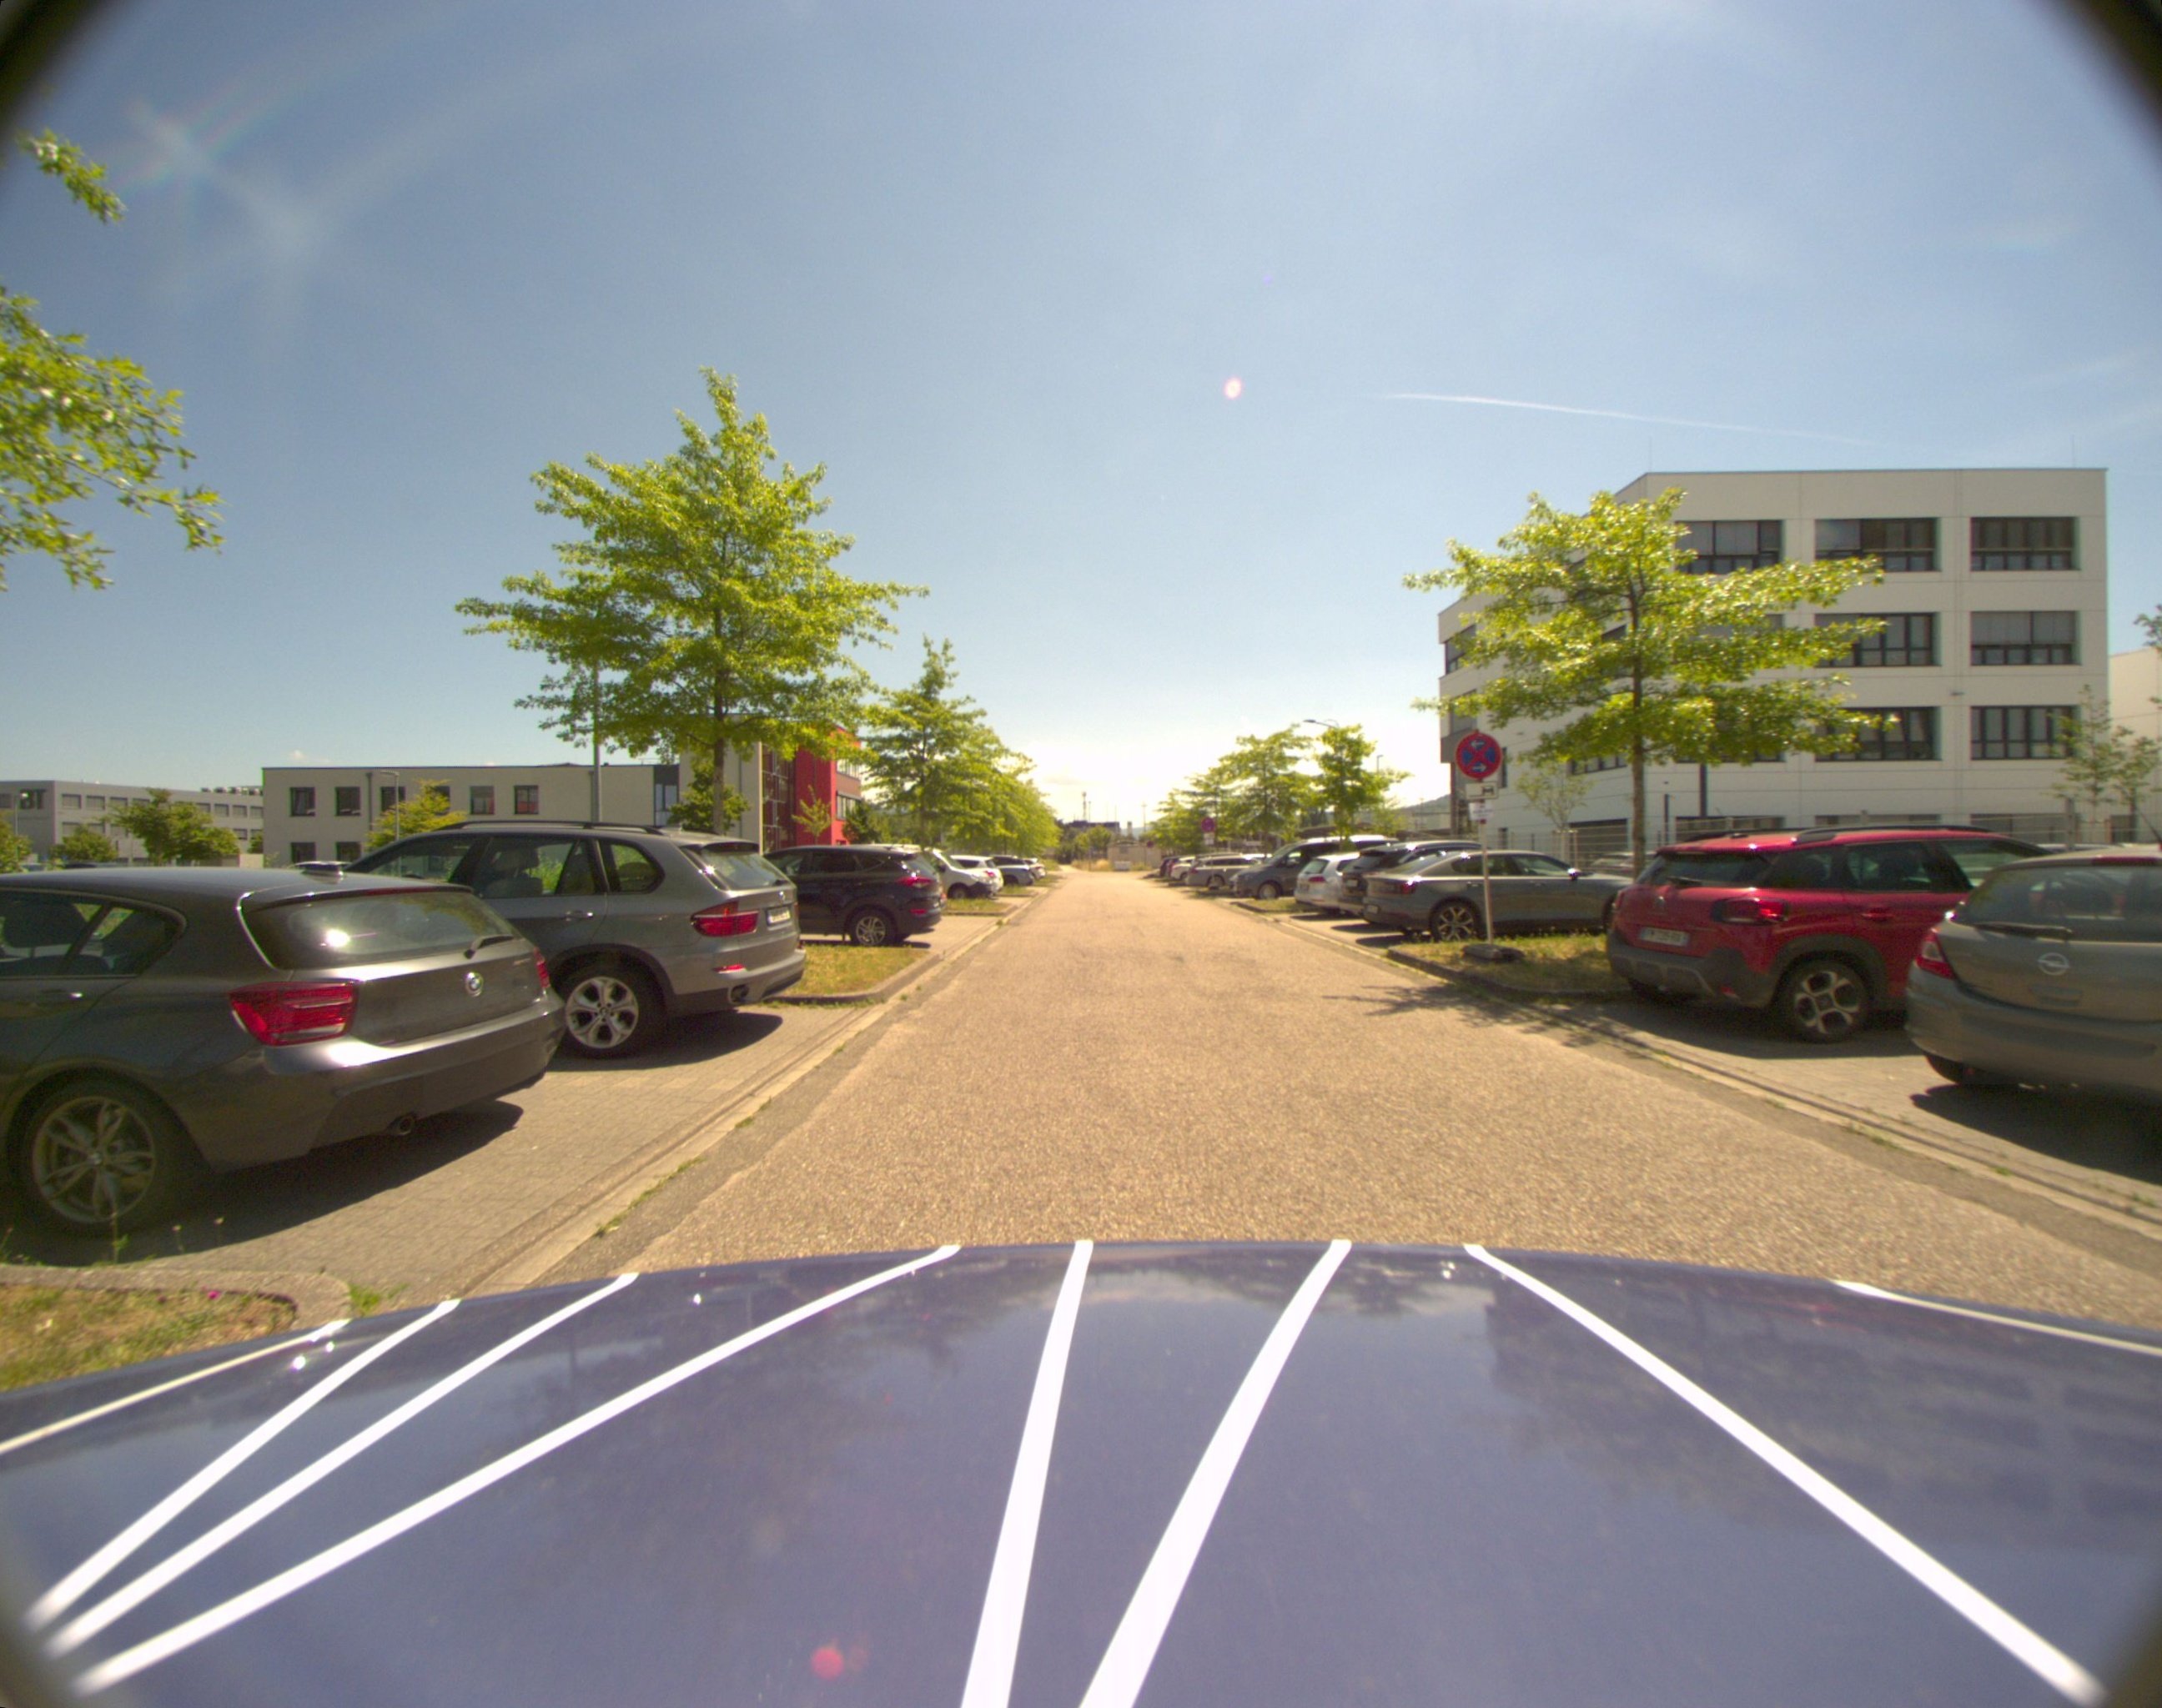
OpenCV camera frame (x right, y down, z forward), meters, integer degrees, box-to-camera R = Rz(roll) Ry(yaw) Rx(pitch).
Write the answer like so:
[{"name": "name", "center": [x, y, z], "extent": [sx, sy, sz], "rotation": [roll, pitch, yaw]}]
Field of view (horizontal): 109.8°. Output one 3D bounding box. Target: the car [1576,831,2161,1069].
[{"name": "car", "center": [6.685, 0.700, 6.430], "extent": [3.746, 1.612, 1.816], "rotation": [-2, 0, 1]}]

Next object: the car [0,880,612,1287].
[{"name": "car", "center": [-4.906, 0.892, 3.786], "extent": [3.932, 1.401, 1.909], "rotation": [0, 1, 0]}]

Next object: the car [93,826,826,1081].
[{"name": "car", "center": [-4.710, 0.719, 6.373], "extent": [4.461, 1.758, 1.992], "rotation": [1, 0, -1]}]

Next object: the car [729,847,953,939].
[{"name": "car", "center": [-4.700, 0.736, 15.274], "extent": [3.885, 1.668, 1.782], "rotation": [1, 0, 1]}]

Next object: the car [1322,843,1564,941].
[{"name": "car", "center": [7.177, 0.716, 15.320], "extent": [3.998, 1.669, 1.776], "rotation": [-3, 0, -4]}]

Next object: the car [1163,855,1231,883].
[{"name": "car", "center": [7.182, 0.926, 47.148], "extent": [3.849, 1.582, 1.727], "rotation": [-2, 0, -2]}]

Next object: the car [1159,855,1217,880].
[{"name": "car", "center": [7.526, 0.950, 53.679], "extent": [3.915, 1.582, 1.728], "rotation": [-2, 0, 4]}]

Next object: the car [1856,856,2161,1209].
[{"name": "car", "center": [6.606, 0.766, 3.855], "extent": [3.666, 1.500, 1.731], "rotation": [-2, 0, -3]}]

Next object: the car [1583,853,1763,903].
[{"name": "car", "center": [17.184, 0.672, 22.182], "extent": [3.998, 1.324, 1.677], "rotation": [1, 0, -3]}]

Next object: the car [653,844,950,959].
[{"name": "car", "center": [-4.401, 0.725, 12.435], "extent": [4.184, 1.686, 1.782], "rotation": [1, 0, 0]}]

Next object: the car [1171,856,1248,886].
[{"name": "car", "center": [7.481, 0.985, 44.445], "extent": [4.182, 1.504, 1.808], "rotation": [-3, -1, 2]}]

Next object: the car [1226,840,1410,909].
[{"name": "car", "center": [7.277, 0.622, 23.740], "extent": [5.082, 1.880, 1.997], "rotation": [-2, 0, 2]}]

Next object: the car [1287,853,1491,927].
[{"name": "car", "center": [7.075, 0.801, 17.698], "extent": [4.048, 1.452, 1.604], "rotation": [-3, 0, -2]}]

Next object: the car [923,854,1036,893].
[{"name": "car", "center": [-4.346, 0.839, 33.078], "extent": [4.729, 1.552, 1.913], "rotation": [1, 0, -3]}]

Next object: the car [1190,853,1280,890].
[{"name": "car", "center": [7.698, 0.862, 38.224], "extent": [4.127, 1.625, 1.728], "rotation": [-2, 0, 2]}]

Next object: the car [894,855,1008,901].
[{"name": "car", "center": [-4.479, 0.813, 26.583], "extent": [3.640, 1.494, 1.676], "rotation": [1, 0, 2]}]

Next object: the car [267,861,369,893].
[{"name": "car", "center": [-37.895, 1.131, 37.789], "extent": [3.331, 1.501, 1.719], "rotation": [0, 0, 1]}]

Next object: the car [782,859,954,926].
[{"name": "car", "center": [-4.840, 0.855, 17.618], "extent": [3.466, 1.408, 1.754], "rotation": [1, 0, 0]}]

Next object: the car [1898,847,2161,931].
[{"name": "car", "center": [17.028, 0.584, 13.374], "extent": [3.488, 1.382, 1.678], "rotation": [0, 0, 0]}]

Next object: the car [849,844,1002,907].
[{"name": "car", "center": [-4.823, 0.657, 23.976], "extent": [4.413, 1.819, 1.796], "rotation": [1, 0, 2]}]

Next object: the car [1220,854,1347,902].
[{"name": "car", "center": [7.119, 0.832, 26.981], "extent": [3.978, 1.475, 1.764], "rotation": [-3, 0, 1]}]

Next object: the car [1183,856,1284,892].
[{"name": "car", "center": [7.136, 0.926, 35.758], "extent": [4.322, 1.464, 1.727], "rotation": [-2, 0, -2]}]

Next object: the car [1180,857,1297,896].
[{"name": "car", "center": [6.836, 0.968, 33.346], "extent": [4.725, 1.439, 1.857], "rotation": [-2, 0, 0]}]

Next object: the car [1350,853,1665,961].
[{"name": "car", "center": [6.883, 0.824, 12.589], "extent": [4.203, 1.471, 1.713], "rotation": [-3, 0, 1]}]

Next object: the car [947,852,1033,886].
[{"name": "car", "center": [-4.557, 0.757, 38.303], "extent": [4.056, 1.615, 1.693], "rotation": [1, 0, 1]}]

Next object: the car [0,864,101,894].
[{"name": "car", "center": [-54.823, 1.291, 40.083], "extent": [3.997, 1.501, 1.719], "rotation": [0, 0, 0]}]

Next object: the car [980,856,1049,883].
[{"name": "car", "center": [-3.913, 0.921, 45.152], "extent": [3.842, 1.544, 1.780], "rotation": [0, -1, 6]}]

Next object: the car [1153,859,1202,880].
[{"name": "car", "center": [7.446, 1.156, 58.581], "extent": [3.513, 1.432, 1.727], "rotation": [-2, 0, 0]}]
